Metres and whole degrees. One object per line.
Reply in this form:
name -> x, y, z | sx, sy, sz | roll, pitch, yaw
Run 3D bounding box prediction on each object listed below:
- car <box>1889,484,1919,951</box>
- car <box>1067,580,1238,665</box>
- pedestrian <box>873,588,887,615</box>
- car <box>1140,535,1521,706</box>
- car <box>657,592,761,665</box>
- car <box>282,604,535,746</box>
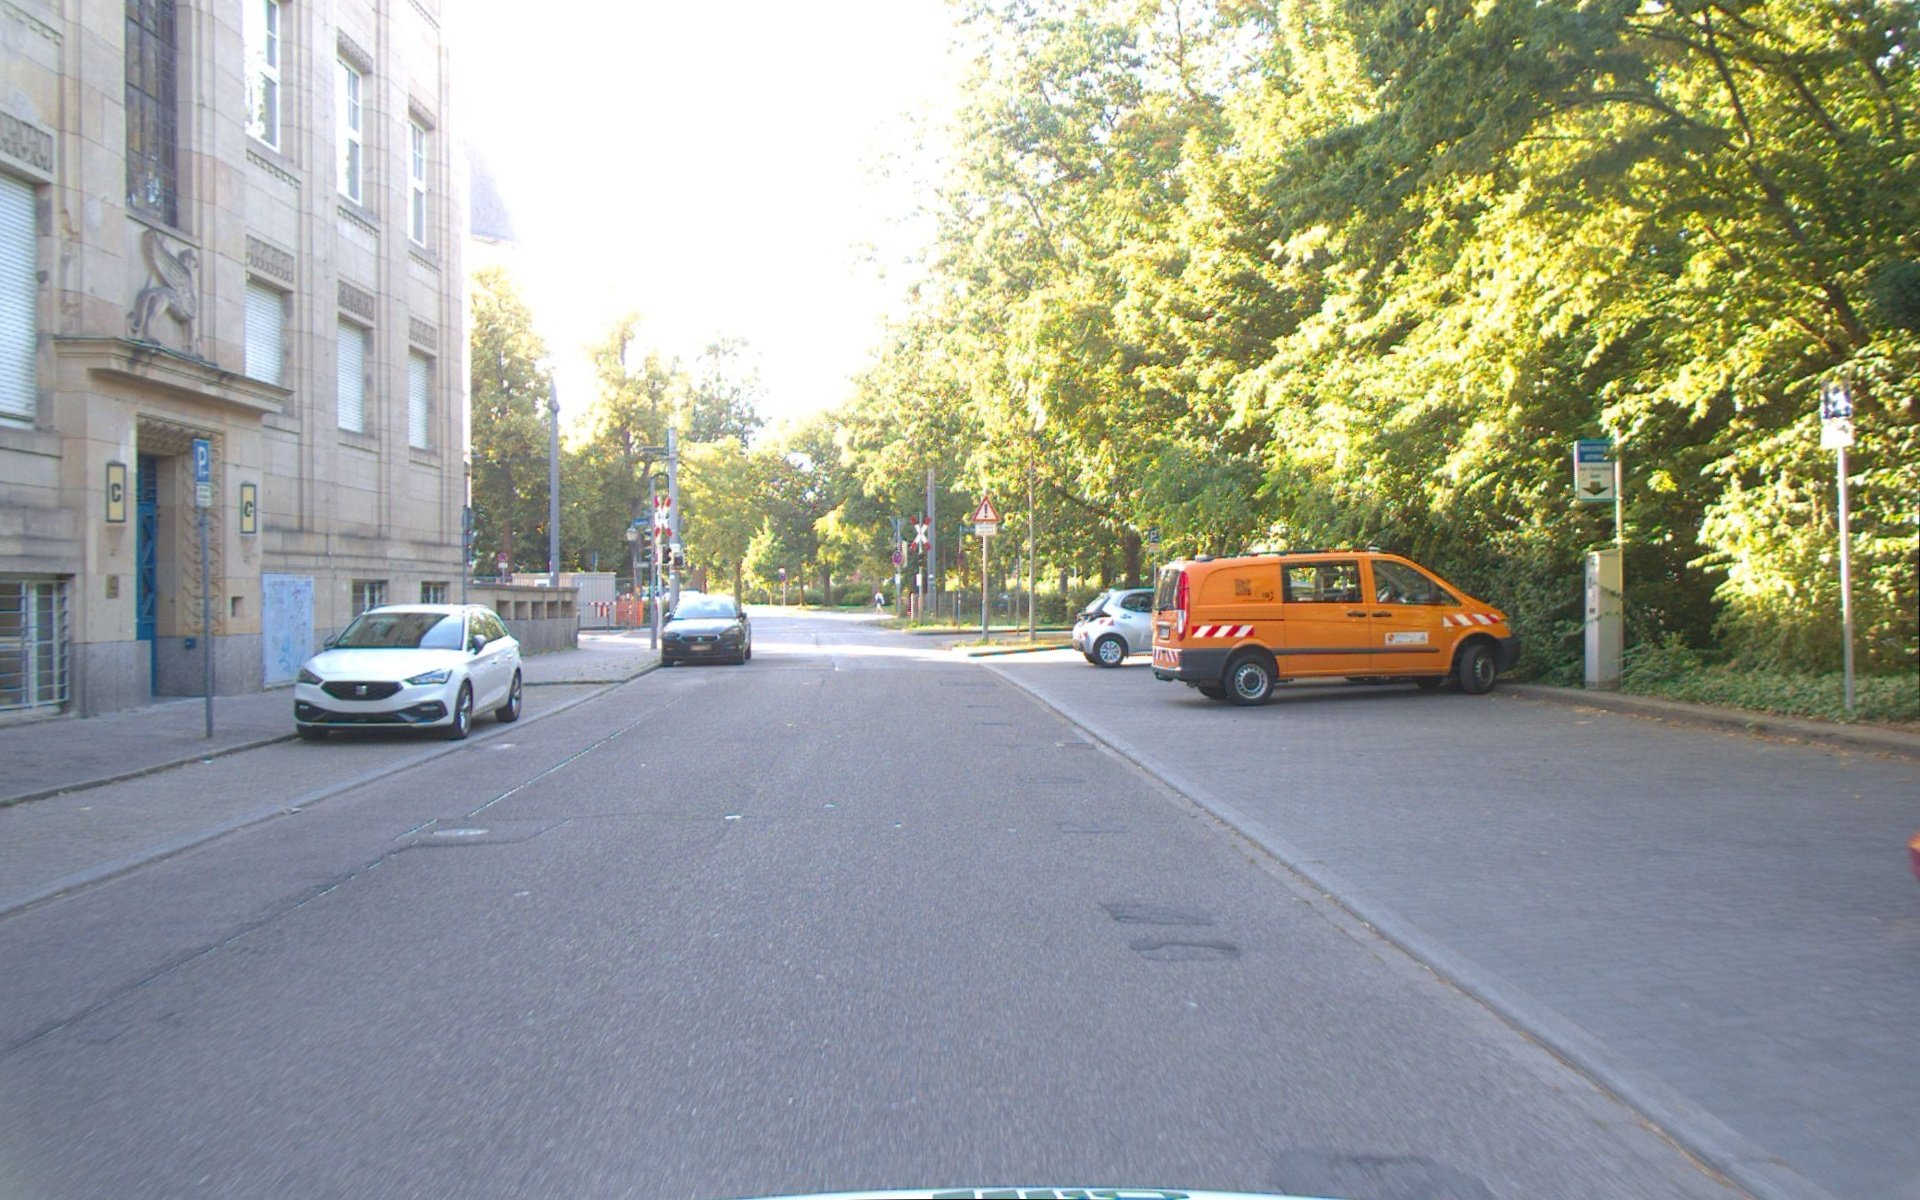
car -> 5.778, 0.411, 5.928 | 3.941, 1.868, 1.614 | -2, 0, 0
car -> 3.823, 0.438, 33.132 | 3.084, 1.529, 1.538 | -2, 0, -7
pedestrian -> -5.273, 0.084, 109.042 | 0.809, 1.751, 0.875 | 0, -2, 1
car -> 5.008, 0.255, 22.667 | 4.727, 2.049, 1.799 | -2, 0, -7
car -> -5.491, 0.579, 36.634 | 1.841, 1.492, 4.370 | 0, 1, -3
car -> -6.235, 0.772, 19.208 | 1.693, 1.421, 4.370 | 0, 0, -3
